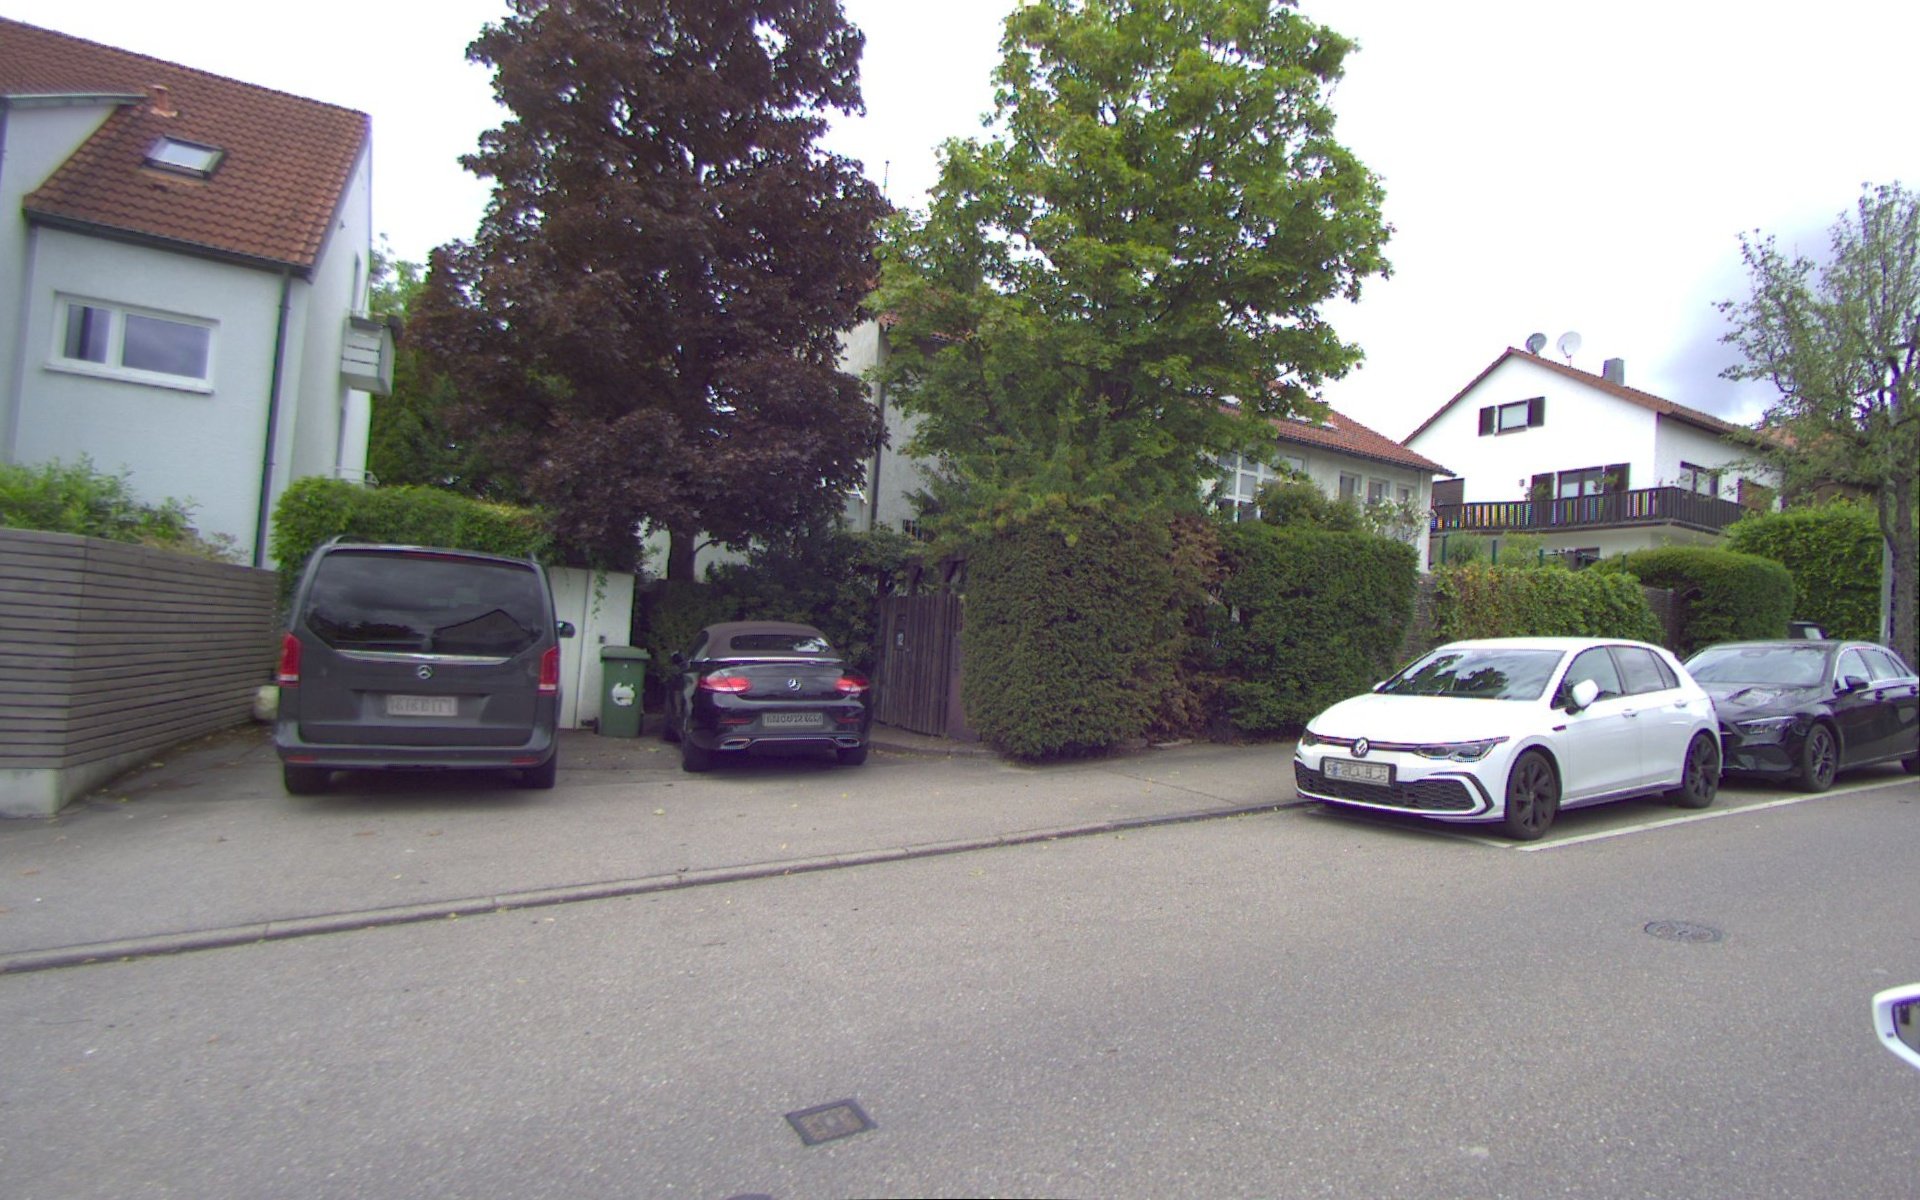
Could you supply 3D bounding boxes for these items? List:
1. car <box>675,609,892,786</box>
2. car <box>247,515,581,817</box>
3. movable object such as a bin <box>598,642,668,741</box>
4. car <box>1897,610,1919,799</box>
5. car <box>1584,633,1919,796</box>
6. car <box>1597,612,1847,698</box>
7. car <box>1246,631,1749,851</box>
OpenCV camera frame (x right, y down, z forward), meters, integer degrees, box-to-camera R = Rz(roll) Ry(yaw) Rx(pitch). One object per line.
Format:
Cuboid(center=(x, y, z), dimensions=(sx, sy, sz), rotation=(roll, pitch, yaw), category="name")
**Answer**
Cuboid(center=(-2.044, 0.858, 10.639), dimensions=(1.750, 1.465, 3.985), rotation=(1, -1, -17), category="car")
Cuboid(center=(-4.468, 0.498, 8.856), dimensions=(1.971, 1.975, 4.065), rotation=(3, -2, -22), category="car")
Cuboid(center=(-3.823, 1.060, 11.732), dimensions=(0.614, 1.105, 0.661), rotation=(4, -3, -30), category="movable object such as a bin")
Cuboid(center=(10.678, 0.932, 9.208), dimensions=(4.208, 1.669, 1.932), rotation=(1, -3, -31), category="car")
Cuboid(center=(8.615, 1.099, 10.668), dimensions=(4.031, 1.442, 1.719), rotation=(2, -3, -30), category="car")
Cuboid(center=(16.478, 1.113, 21.952), dimensions=(1.764, 1.554, 3.973), rotation=(1, 1, -26), category="car")
Cuboid(center=(4.653, 1.005, 8.541), dimensions=(4.358, 1.441, 1.828), rotation=(1, -3, -32), category="car")
